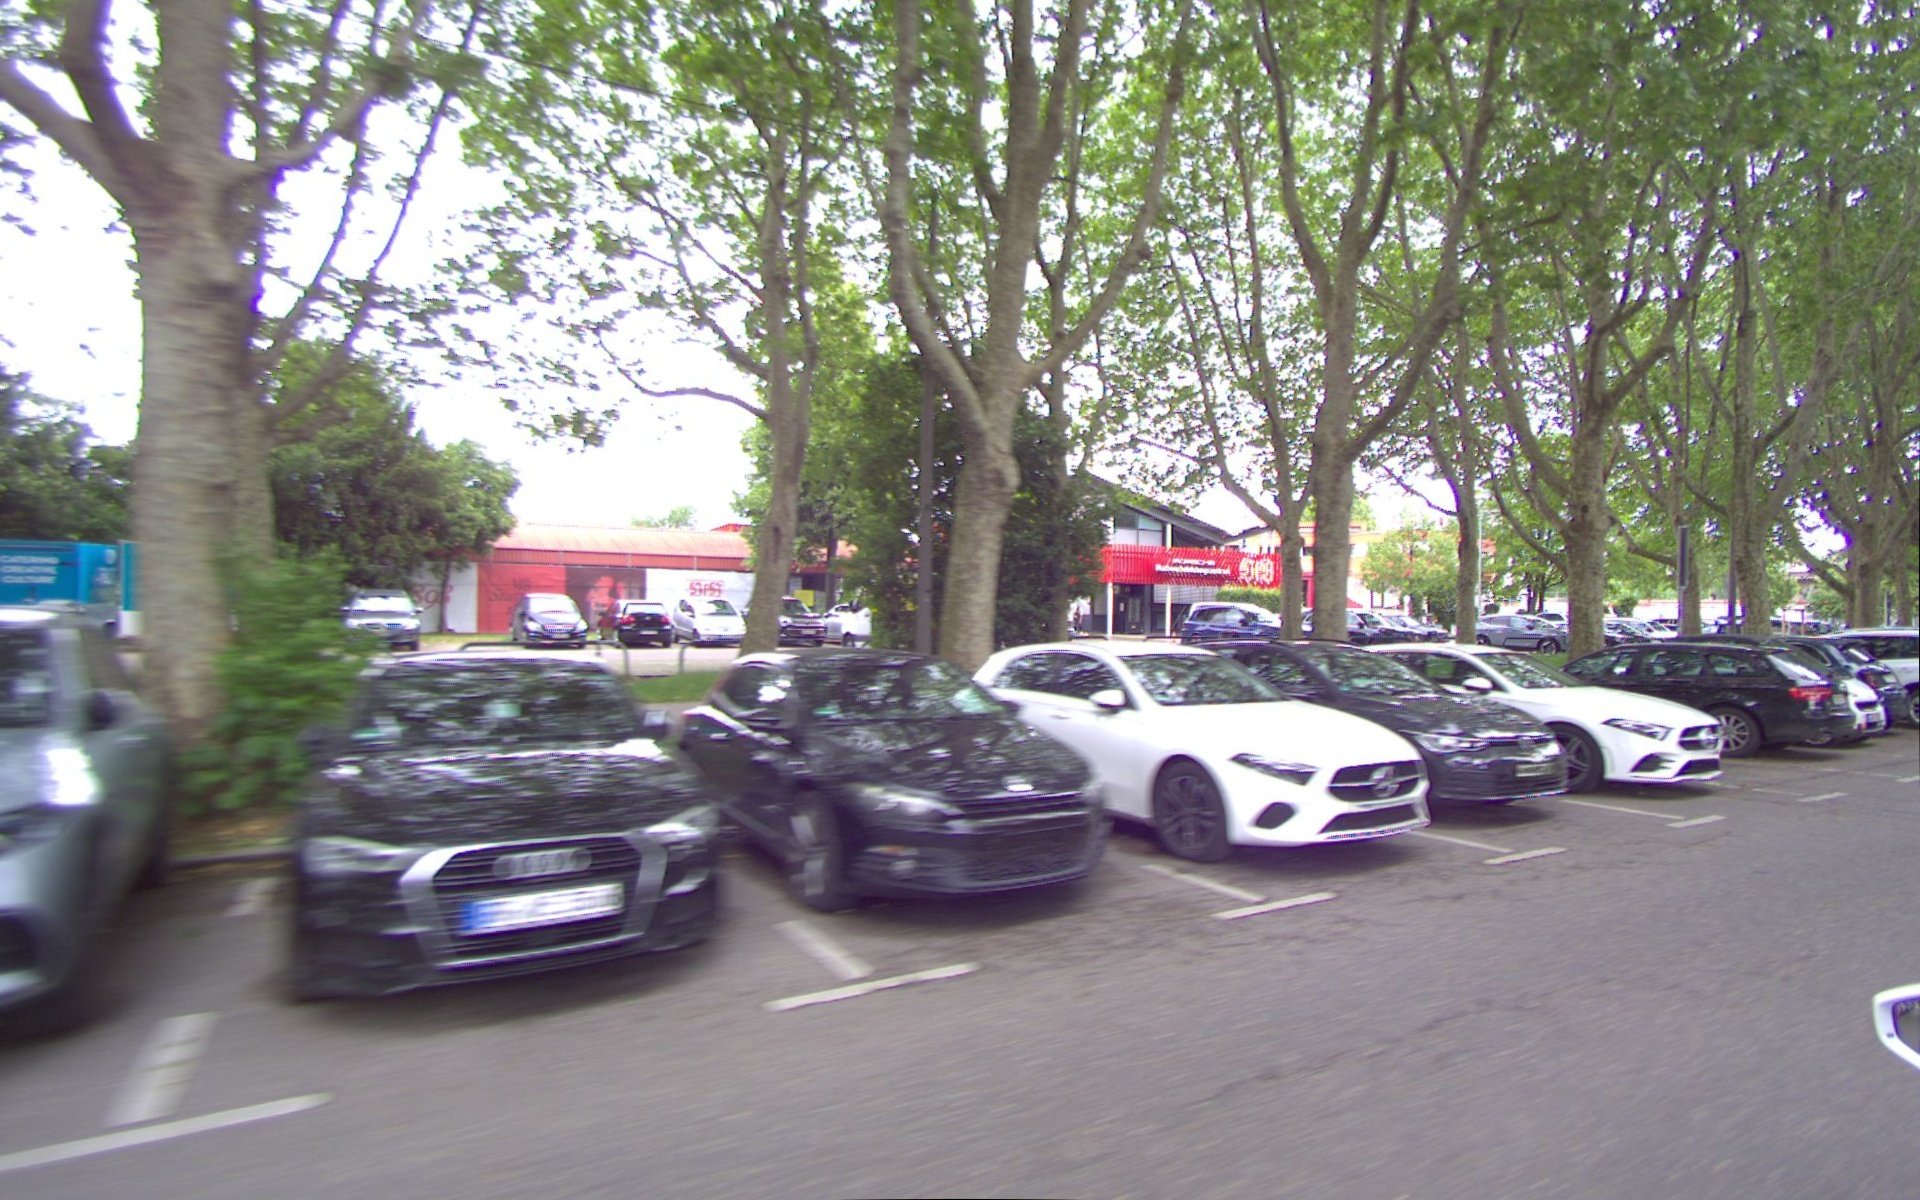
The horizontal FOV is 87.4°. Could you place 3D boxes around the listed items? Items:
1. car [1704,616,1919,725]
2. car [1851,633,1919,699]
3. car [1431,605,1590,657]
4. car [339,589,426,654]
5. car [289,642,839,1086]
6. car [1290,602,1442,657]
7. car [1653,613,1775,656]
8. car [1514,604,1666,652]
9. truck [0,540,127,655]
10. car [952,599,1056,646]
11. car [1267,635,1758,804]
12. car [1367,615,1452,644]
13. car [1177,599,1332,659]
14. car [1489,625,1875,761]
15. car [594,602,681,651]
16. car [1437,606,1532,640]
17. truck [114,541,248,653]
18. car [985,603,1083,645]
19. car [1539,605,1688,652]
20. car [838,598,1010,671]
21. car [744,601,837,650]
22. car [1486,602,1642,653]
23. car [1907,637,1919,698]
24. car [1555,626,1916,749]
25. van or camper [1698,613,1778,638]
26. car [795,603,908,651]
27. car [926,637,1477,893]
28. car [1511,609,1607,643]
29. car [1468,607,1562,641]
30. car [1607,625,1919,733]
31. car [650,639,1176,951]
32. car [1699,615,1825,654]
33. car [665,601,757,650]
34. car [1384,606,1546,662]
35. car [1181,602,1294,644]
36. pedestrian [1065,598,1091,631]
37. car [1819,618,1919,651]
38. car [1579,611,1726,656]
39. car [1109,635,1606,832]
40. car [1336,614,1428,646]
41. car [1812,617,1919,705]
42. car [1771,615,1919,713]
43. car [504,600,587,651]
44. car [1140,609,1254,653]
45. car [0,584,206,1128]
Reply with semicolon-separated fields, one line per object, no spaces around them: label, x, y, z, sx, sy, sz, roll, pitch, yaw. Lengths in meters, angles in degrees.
car;15.880;1.194;17.758;1.833;1.704;3.969;2;0;-29
car;22.268;1.506;21.861;1.823;1.387;3.965;2;0;-32
car;20.952;1.139;38.438;2.160;1.821;4.913;1;0;-33
car;-16.346;0.562;28.478;1.967;1.684;3.967;2;0;-30
car;-2.578;0.972;5.727;2.026;1.413;4.382;1;-2;-33
car;13.772;1.037;34.330;1.978;1.743;4.528;1;-3;-32
car;36.514;1.639;48.776;2.005;1.885;4.298;2;0;-31
car;26.096;1.130;41.810;2.160;1.821;4.913;2;0;-33
truck;-22.661;-0.066;25.114;2.097;2.643;3.968;2;0;-29
car;1.626;0.855;38.584;1.980;1.648;3.961;2;0;-34
car;5.832;1.127;11.202;2.024;1.463;4.385;1;-2;-32
car;23.685;1.532;53.035;1.490;1.390;3.965;2;0;-32
car;9.135;0.925;31.530;1.978;1.743;4.528;1;-3;-32
car;9.828;1.160;14.009;1.833;1.472;3.969;2;0;-29
car;-10.400;0.798;32.228;1.878;1.415;3.967;1;1;-30
car;31.229;1.343;59.922;2.266;1.880;4.564;2;0;-25
truck;-20.839;-0.062;27.053;2.350;2.753;3.966;2;0;-31
car;2.986;0.968;41.336;1.980;1.571;3.993;2;0;-34
car;28.101;1.195;43.348;2.160;1.821;4.913;2;0;-33
car;-1.061;0.804;25.826;2.071;1.617;5.320;2;0;-31
car;-5.936;0.839;34.866;1.915;1.530;3.967;1;0;-30
car;24.162;1.066;40.350;2.160;1.821;4.913;2;0;-33
car;24.308;1.557;22.665;1.684;1.439;3.972;1;-2;-32
car;11.631;1.219;15.355;1.833;1.472;3.969;2;0;-29
van or camper;58.917;1.897;76.149;2.108;1.732;4.298;2;0;-31
car;-4.002;0.924;36.328;2.159;1.541;4.915;2;0;-31
car;1.560;1.032;8.111;1.756;1.443;4.385;1;-2;-32
car;36.641;1.586;61.573;2.266;1.880;4.564;2;0;-25
car;33.663;1.419;61.046;2.266;1.880;4.564;2;0;-25
car;13.566;1.239;17.041;1.833;1.472;3.969;2;0;-29
car;-0.687;0.989;6.977;1.706;1.413;4.383;1;-2;-33
car;40.979;1.737;51.443;2.270;1.748;4.528;2;0;-31
car;-8.362;0.800;33.513;1.968;1.468;3.967;1;0;-30
car;18.551;1.218;37.121;2.160;1.821;4.913;2;0;-33
car;12.890;1.043;47.029;2.160;1.821;4.913;2;0;-33
pedestrian;6.105;0.743;51.885;0.977;1.679;0.834;2;0;-31
car;53.310;1.997;58.664;2.108;1.732;4.298;2;0;-31
car;30.596;1.432;44.532;2.160;1.821;4.913;1;0;-33
car;3.500;1.071;9.777;1.762;1.436;4.388;1;-2;-29
car;21.760;1.539;51.955;1.978;1.446;3.965;2;0;-32
car;20.030;1.269;20.230;1.833;1.704;3.969;2;0;-29
car;18.020;1.204;18.843;1.833;1.704;3.969;2;0;-29
car;-12.901;0.742;31.162;1.878;1.415;3.967;1;0;-30
car;10.712;1.380;45.773;2.160;1.821;4.913;2;0;-33
car;-4.776;0.825;4.429;2.026;1.647;4.382;1;-2;-33
